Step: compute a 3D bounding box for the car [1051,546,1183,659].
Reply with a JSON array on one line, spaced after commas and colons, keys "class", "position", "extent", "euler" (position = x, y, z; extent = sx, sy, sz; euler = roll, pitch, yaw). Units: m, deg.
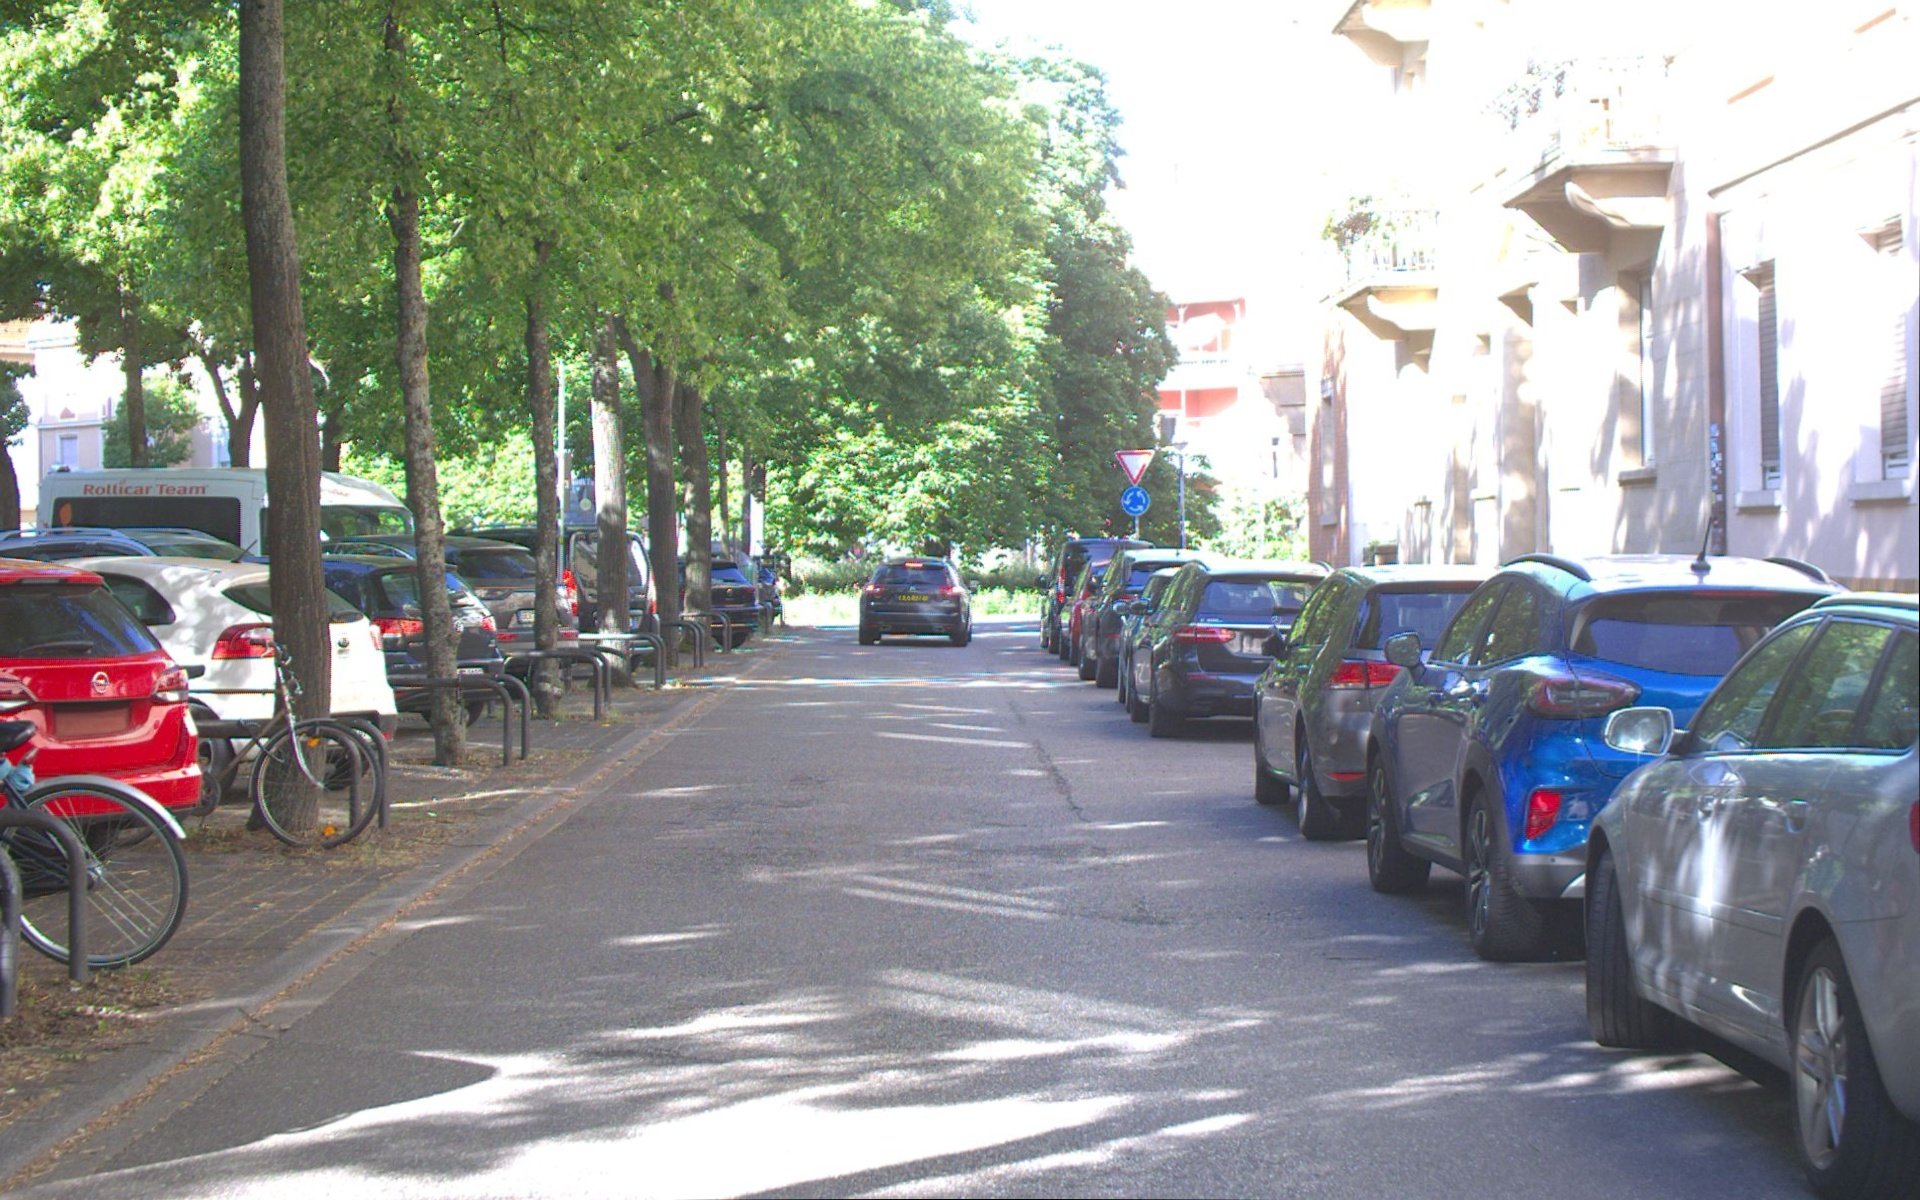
[{"class": "car", "position": [2.267, 0.008, 50.611], "extent": [1.645, 1.532, 4.000], "euler": [2, 1, -1]}]

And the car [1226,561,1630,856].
[{"class": "car", "position": [2.523, 0.526, 19.403], "extent": [1.692, 1.463, 4.005], "euler": [0, 1, 0]}]

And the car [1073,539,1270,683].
[{"class": "car", "position": [2.497, 0.087, 41.652], "extent": [1.864, 1.638, 4.492], "euler": [1, 1, -3]}]

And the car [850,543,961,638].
[{"class": "car", "position": [-0.886, -0.189, 57.965], "extent": [1.714, 1.478, 4.144], "euler": [-2, 1, 1]}]

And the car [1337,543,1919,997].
[{"class": "car", "position": [2.690, 0.561, 14.139], "extent": [1.767, 1.546, 4.184], "euler": [-1, 1, 0]}]

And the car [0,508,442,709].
[{"class": "car", "position": [-7.210, 0.084, 32.118], "extent": [4.386, 1.771, 1.896], "euler": [-1, 0, 27]}]

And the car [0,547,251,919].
[{"class": "car", "position": [-5.558, 0.495, 15.410], "extent": [4.621, 1.481, 1.758], "euler": [1, 1, 28]}]

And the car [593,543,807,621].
[{"class": "car", "position": [-5.138, -0.344, 67.659], "extent": [4.138, 1.476, 1.772], "euler": [0, 0, 40]}]

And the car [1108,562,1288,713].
[{"class": "car", "position": [2.370, 0.343, 34.914], "extent": [1.590, 1.410, 3.632], "euler": [1, 1, 1]}]

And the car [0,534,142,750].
[{"class": "car", "position": [-8.423, 0.326, 26.459], "extent": [3.909, 1.550, 1.843], "euler": [-1, 1, 30]}]

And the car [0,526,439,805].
[{"class": "car", "position": [-5.279, 0.342, 21.289], "extent": [3.687, 1.590, 1.770], "euler": [1, 1, 25]}]

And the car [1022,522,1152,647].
[{"class": "car", "position": [2.012, -0.282, 55.458], "extent": [1.801, 1.864, 4.273], "euler": [2, 1, -1]}]

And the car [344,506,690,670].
[{"class": "car", "position": [-5.337, -0.147, 41.321], "extent": [3.846, 1.882, 1.840], "euler": [0, 1, 34]}]

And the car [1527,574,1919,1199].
[{"class": "car", "position": [2.774, 0.668, 9.233], "extent": [1.770, 1.426, 4.291], "euler": [0, 1, 0]}]

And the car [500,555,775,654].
[{"class": "car", "position": [-4.928, 0.071, 52.980], "extent": [4.088, 1.461, 1.867], "euler": [1, 0, -1]}]

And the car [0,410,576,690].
[{"class": "car", "position": [-7.718, -0.518, 38.878], "extent": [6.069, 2.614, 2.453], "euler": [-4, -1, 15]}]

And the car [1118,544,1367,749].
[{"class": "car", "position": [2.354, 0.336, 29.584], "extent": [1.805, 1.558, 4.321], "euler": [-2, 1, 1]}]

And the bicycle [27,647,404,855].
[{"class": "bicycle", "position": [-3.677, 0.739, 16.979], "extent": [1.812, 0.990, 0.425], "euler": [-1, 1, 15]}]

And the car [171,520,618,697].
[{"class": "car", "position": [-5.668, 0.050, 34.365], "extent": [4.268, 1.636, 1.653], "euler": [1, 1, 28]}]

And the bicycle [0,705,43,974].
[{"class": "bicycle", "position": [-4.185, 0.821, 12.222], "extent": [1.900, 0.916, 0.379], "euler": [1, 1, 19]}]

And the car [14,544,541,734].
[{"class": "car", "position": [-5.644, 0.297, 28.339], "extent": [4.102, 1.476, 1.729], "euler": [0, 0, 29]}]

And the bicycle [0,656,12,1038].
[{"class": "bicycle", "position": [-3.739, 0.741, 10.548], "extent": [1.687, 1.155, 0.379], "euler": [1, 1, 19]}]
